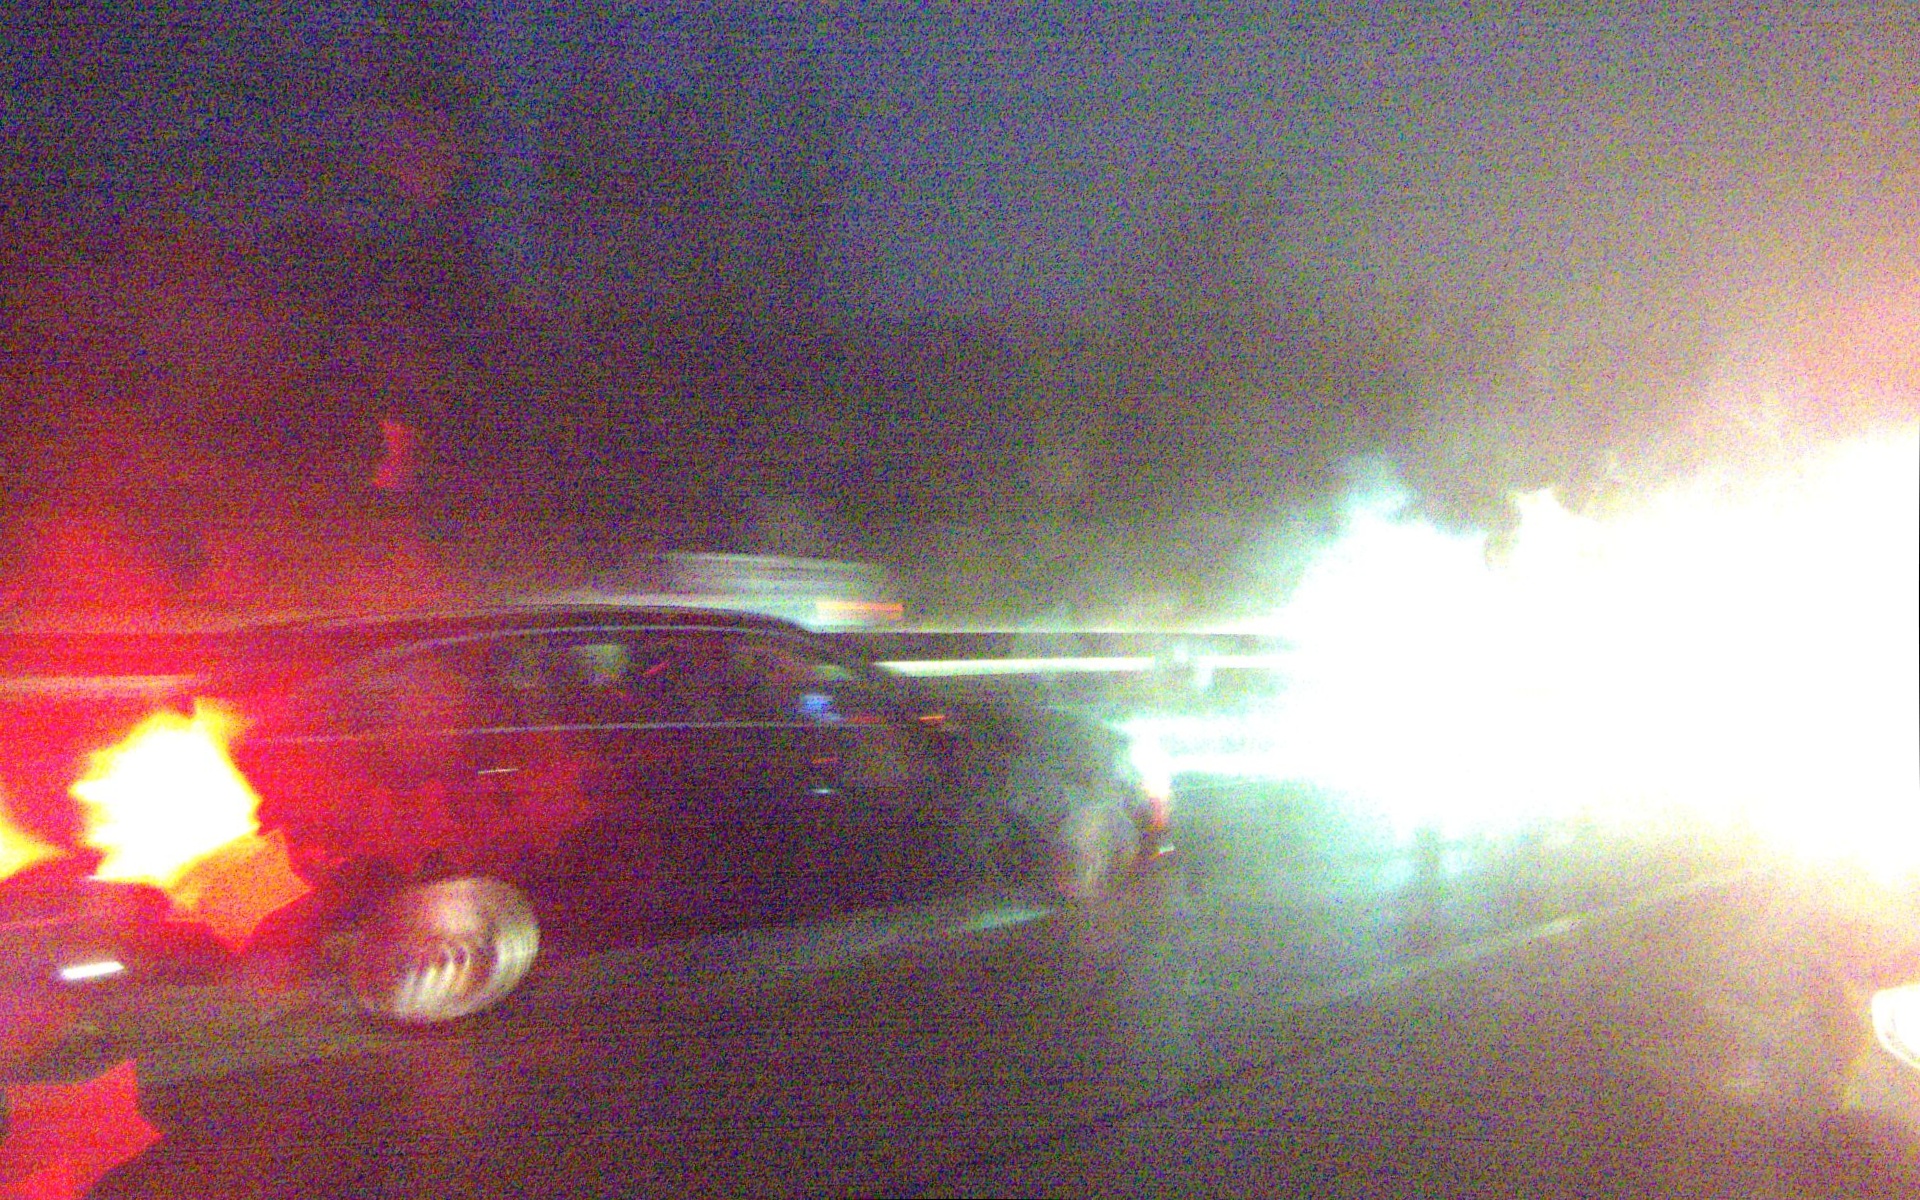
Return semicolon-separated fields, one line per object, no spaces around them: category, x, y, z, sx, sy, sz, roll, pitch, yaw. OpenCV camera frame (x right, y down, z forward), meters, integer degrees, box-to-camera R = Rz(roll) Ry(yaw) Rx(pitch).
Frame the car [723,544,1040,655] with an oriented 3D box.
car;-1.377;0.025;18.656;5.531;1.792;2.032;1;1;-31

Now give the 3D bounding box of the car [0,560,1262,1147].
car;-0.970;0.696;4.628;4.860;1.537;1.758;1;0;-32

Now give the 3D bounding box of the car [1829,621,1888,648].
car;58.379;2.247;65.249;4.289;1.669;1.830;2;0;-34

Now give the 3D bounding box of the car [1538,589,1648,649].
car;19.614;0.588;31.118;3.124;1.746;1.547;1;1;-30

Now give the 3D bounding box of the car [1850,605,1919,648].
car;47.062;1.362;50.958;3.961;2.040;1.980;2;0;-35

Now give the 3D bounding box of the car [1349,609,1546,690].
car;10.511;1.032;21.571;4.261;1.528;1.871;2;0;-33
